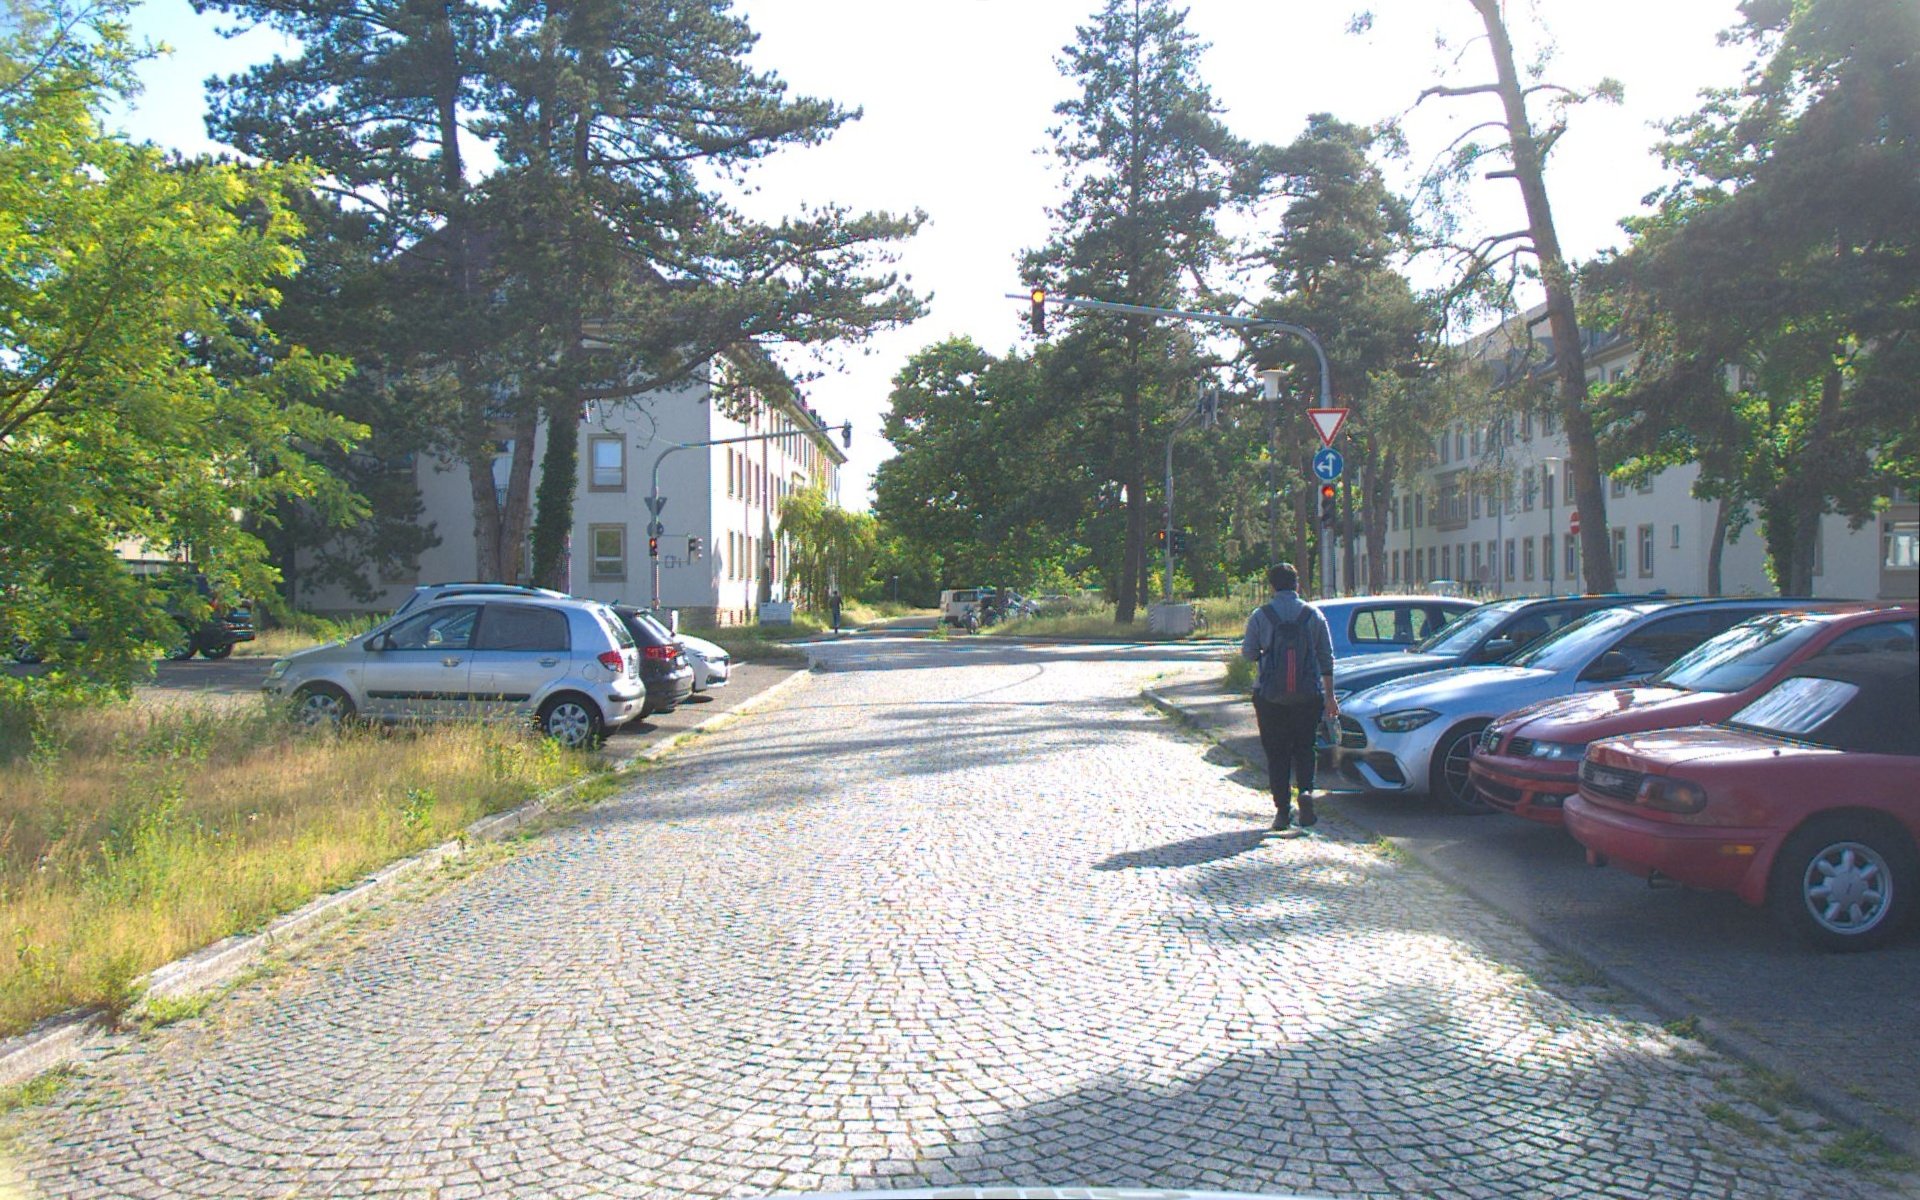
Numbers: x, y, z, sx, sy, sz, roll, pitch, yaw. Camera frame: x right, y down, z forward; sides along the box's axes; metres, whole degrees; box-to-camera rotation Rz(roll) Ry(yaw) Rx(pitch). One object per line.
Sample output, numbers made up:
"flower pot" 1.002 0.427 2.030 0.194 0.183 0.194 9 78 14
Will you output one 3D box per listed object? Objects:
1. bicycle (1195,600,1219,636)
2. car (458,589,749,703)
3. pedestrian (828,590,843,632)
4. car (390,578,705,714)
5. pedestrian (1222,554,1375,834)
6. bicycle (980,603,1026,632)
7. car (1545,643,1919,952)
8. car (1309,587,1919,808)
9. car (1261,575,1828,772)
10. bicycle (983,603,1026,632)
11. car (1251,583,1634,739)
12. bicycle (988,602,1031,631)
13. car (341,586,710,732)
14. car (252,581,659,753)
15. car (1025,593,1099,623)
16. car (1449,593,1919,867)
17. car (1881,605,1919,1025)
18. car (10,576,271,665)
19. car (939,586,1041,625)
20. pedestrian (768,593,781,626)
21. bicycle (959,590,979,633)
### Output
"bicycle" 8.200 0.590 54.841 0.706 1.134 2.586 -1 0 10
"car" -5.330 0.662 24.992 3.903 1.522 1.774 2 0 5
"pedestrian" -5.251 0.455 69.602 0.594 1.783 0.630 0 0 -1
"car" -5.503 0.599 22.375 3.801 1.643 1.660 2 0 -1
"pedestrian" 2.255 0.607 11.115 0.738 1.755 0.828 4 0 0
"bicycle" 1.740 0.706 66.736 1.798 1.132 0.495 -1 0 -4
"car" 4.723 0.858 7.804 3.389 1.264 1.536 0 0 0
"car" 5.012 0.683 12.564 4.310 1.413 1.788 -2 0 -1
"car" 5.250 0.629 15.262 4.527 1.481 1.869 -3 0 -2
"bicycle" 1.808 0.705 67.280 1.693 1.132 0.484 -1 0 -4
"car" 5.096 0.623 17.793 3.598 1.468 1.665 -2 0 0
"bicycle" 2.040 0.665 67.962 1.693 1.185 0.561 -1 0 -4
"car" -5.051 0.672 19.606 3.858 1.470 1.690 3 0 -1
"car" -5.050 0.652 16.942 3.612 1.554 1.698 2 0 -3
"car" 5.450 0.415 88.626 3.673 1.607 1.738 0 0 -7
"car" 5.217 0.722 10.194 3.898 1.474 1.655 -1 0 -1
"car" 5.155 0.691 5.171 3.588 1.480 1.666 -2 0 0
"car" -15.890 0.389 32.237 4.058 1.636 2.010 -1 0 1
"car" 1.506 0.278 84.637 4.973 1.952 1.996 -1 0 -10
"pedestrian" -9.050 0.448 80.741 0.595 1.587 0.544 0 0 -7
"bicycle" 0.343 0.429 63.276 0.738 1.608 2.536 0 0 0
